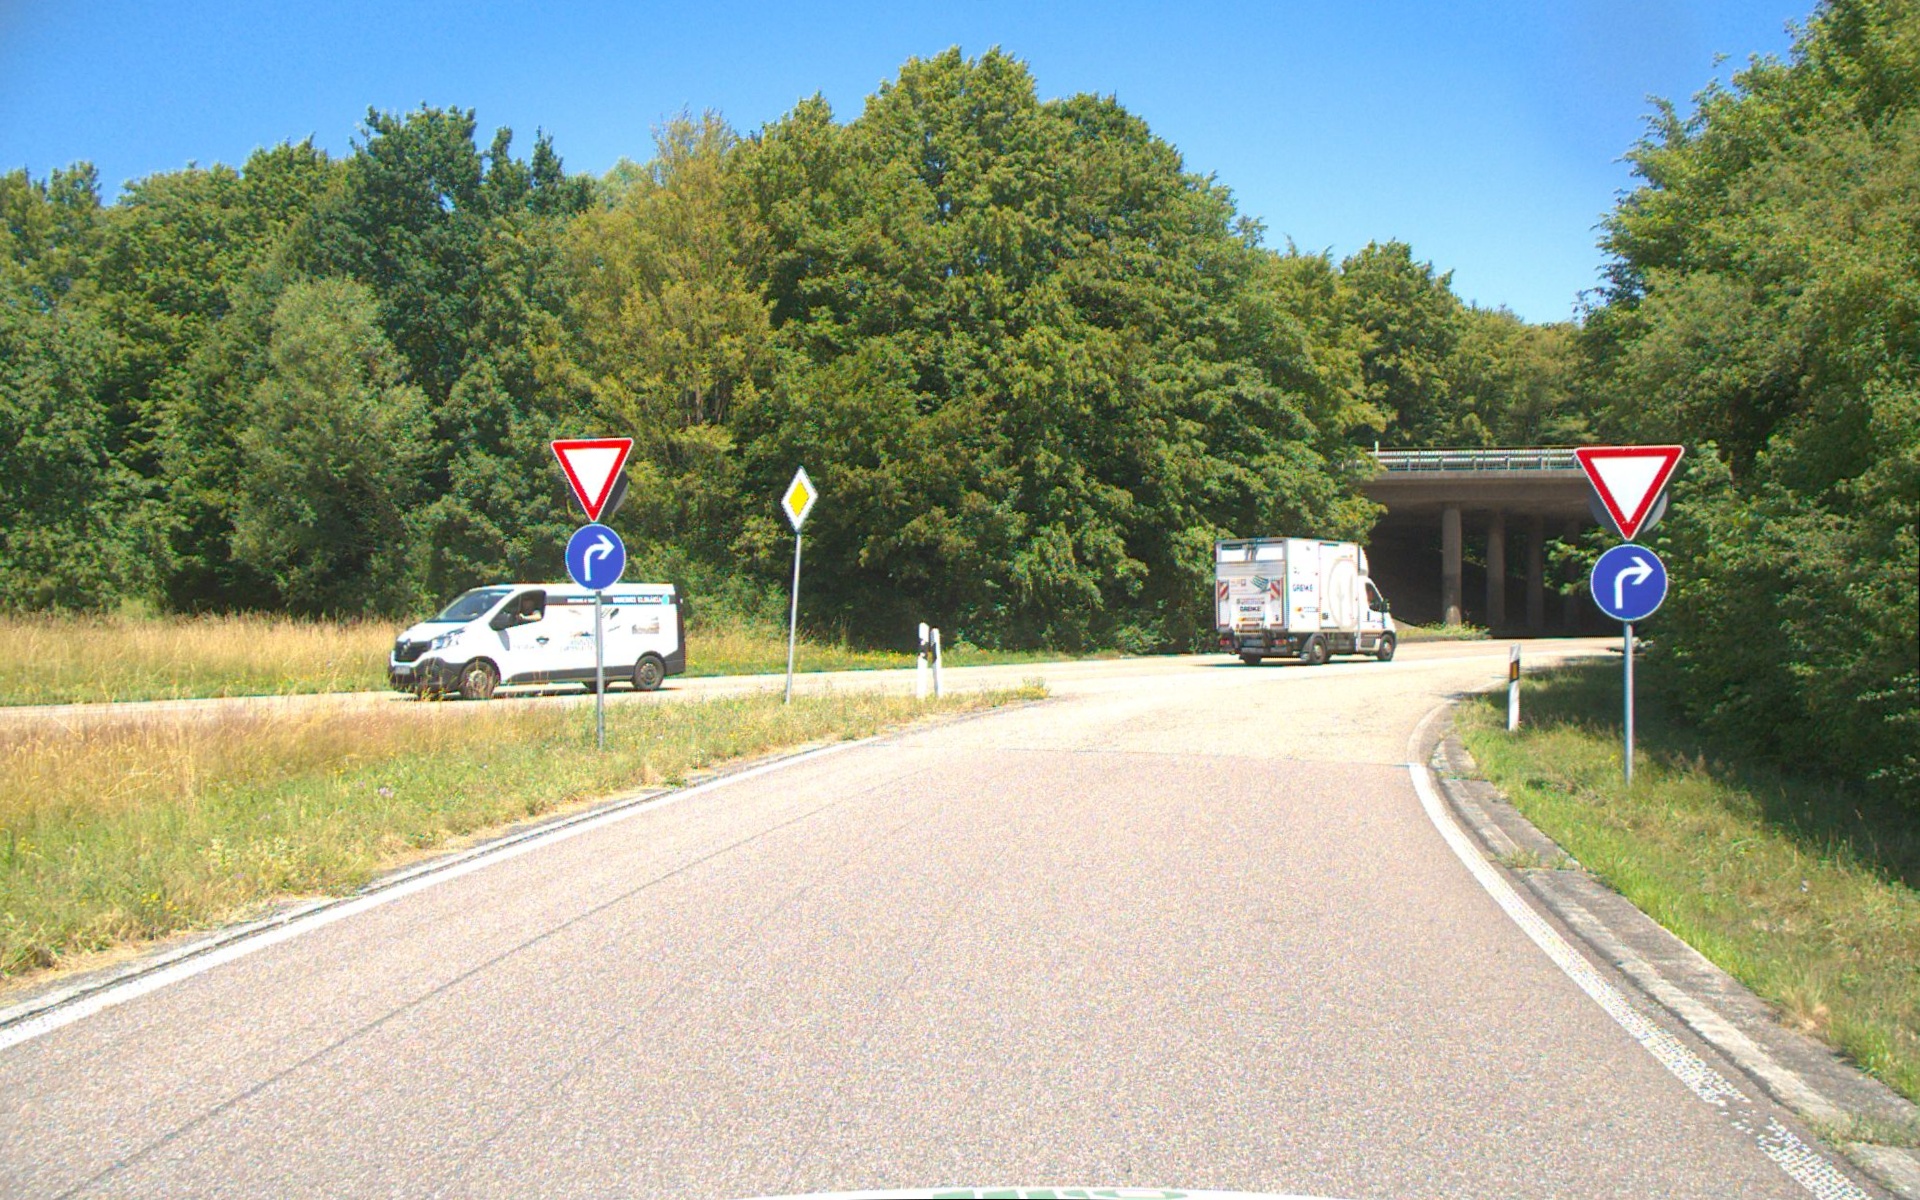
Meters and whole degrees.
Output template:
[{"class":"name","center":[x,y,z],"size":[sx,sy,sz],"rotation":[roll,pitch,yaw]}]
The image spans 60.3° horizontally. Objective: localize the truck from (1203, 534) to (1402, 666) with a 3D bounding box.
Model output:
[{"class":"truck","center":[8.561,0.017,40.927],"size":[2.208,3.037,5.859],"rotation":[-1,-1,42]}]

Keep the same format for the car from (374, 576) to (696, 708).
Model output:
[{"class":"car","center":[-7.403,0.673,29.319],"size":[1.881,1.995,5.361],"rotation":[-1,1,42]}]
